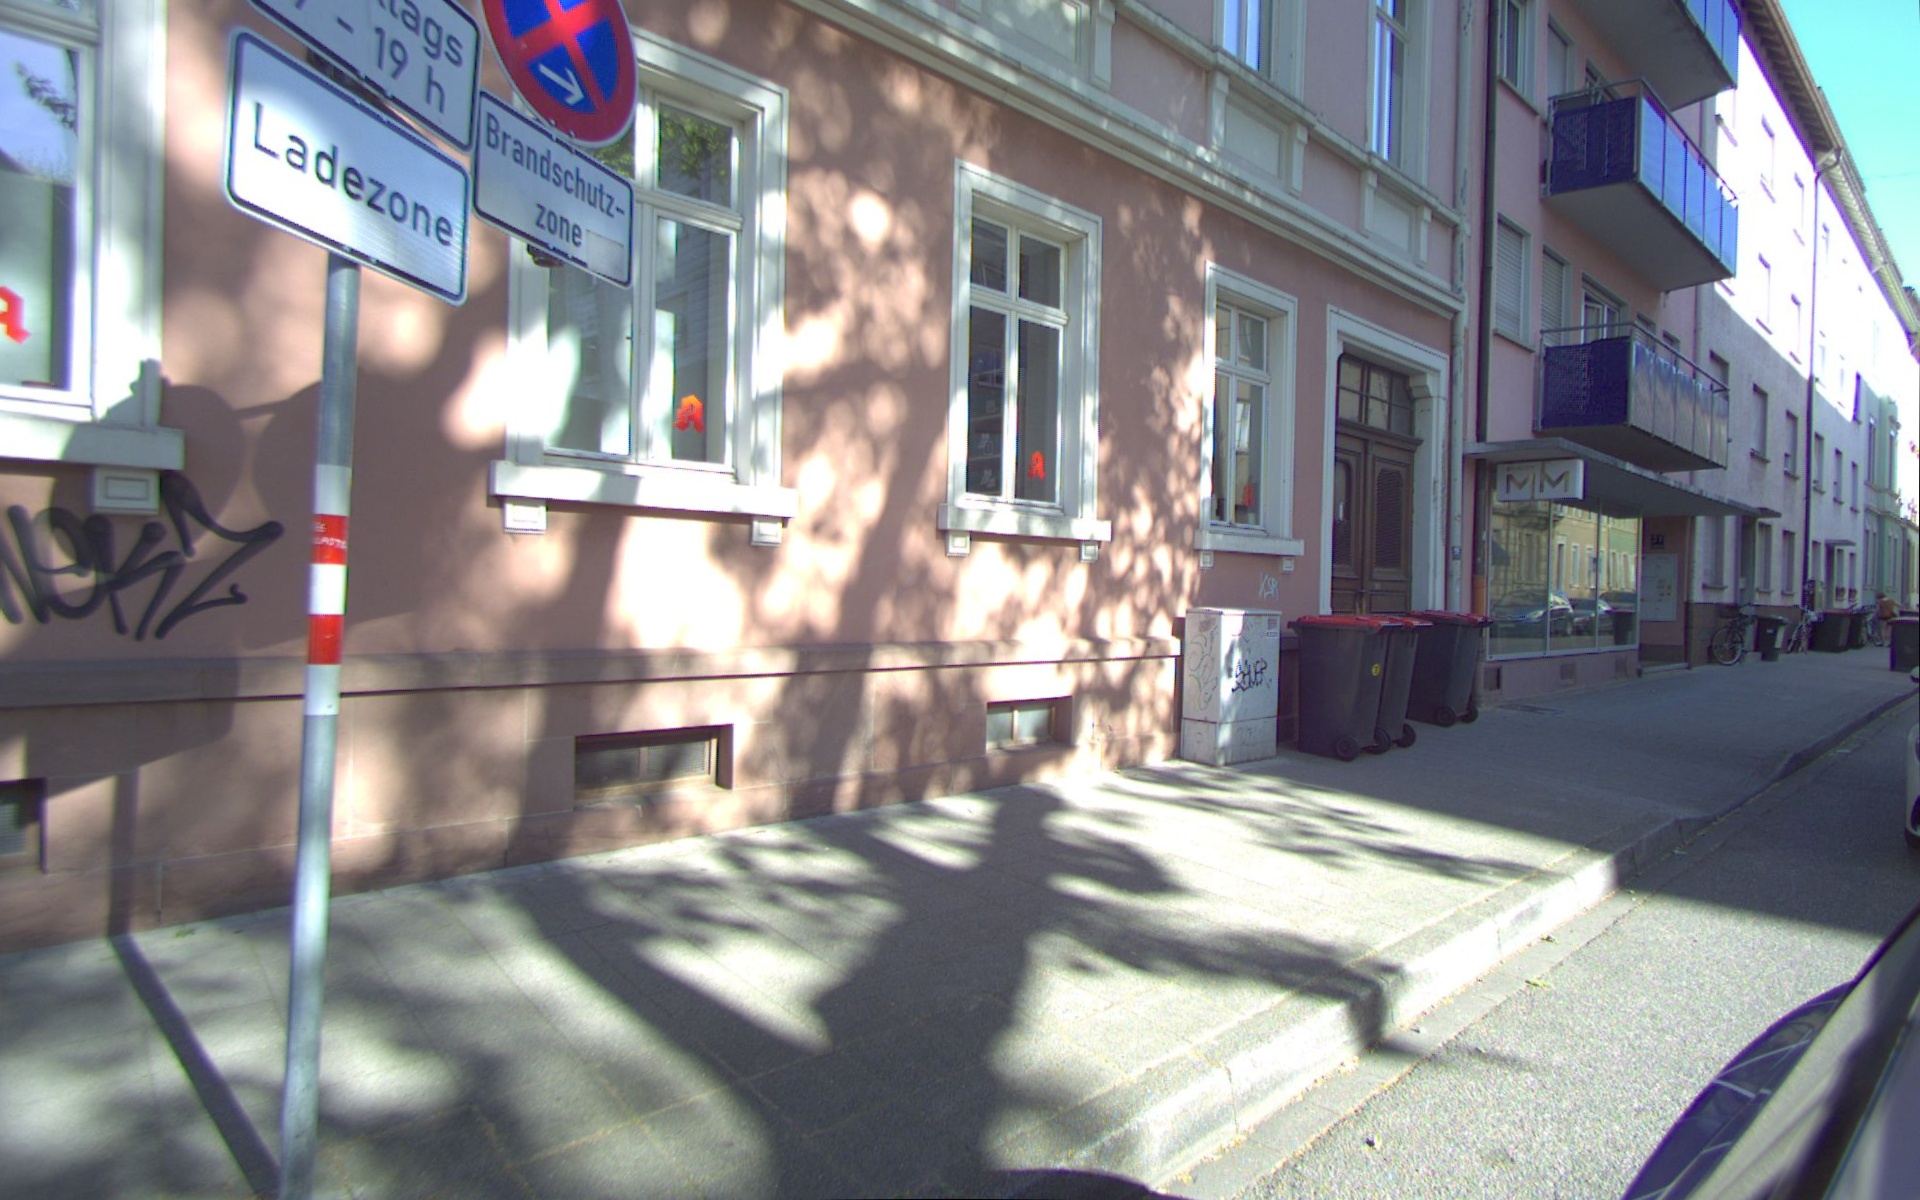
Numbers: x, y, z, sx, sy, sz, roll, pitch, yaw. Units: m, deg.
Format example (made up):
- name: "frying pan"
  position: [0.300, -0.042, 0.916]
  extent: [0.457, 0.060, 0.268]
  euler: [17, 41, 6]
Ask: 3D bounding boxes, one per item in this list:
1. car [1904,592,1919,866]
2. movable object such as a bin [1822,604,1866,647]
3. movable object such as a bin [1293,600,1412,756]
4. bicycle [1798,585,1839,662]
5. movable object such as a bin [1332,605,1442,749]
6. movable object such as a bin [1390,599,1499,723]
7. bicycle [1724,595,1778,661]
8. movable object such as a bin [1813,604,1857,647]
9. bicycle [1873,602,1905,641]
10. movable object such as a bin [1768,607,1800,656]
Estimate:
- name: "car"
  position: [7.425, 0.721, 6.250]
  extent: [4.483, 1.475, 1.861]
  euler: [0, 1, -41]
- name: "movable object such as a bin"
  position: [22.262, 0.633, 25.494]
  extent: [0.537, 1.014, 0.716]
  euler: [1, 4, -43]
- name: "movable object such as a bin"
  position: [3.028, 0.571, 7.807]
  extent: [0.643, 1.097, 0.570]
  euler: [1, 3, -43]
- name: "bicycle"
  position: [20.297, 0.534, 23.922]
  extent: [2.070, 1.757, 0.402]
  euler: [0, 1, -41]
- name: "movable object such as a bin"
  position: [3.473, 0.598, 8.243]
  extent: [0.601, 1.071, 0.570]
  euler: [1, 3, -43]
- name: "movable object such as a bin"
  position: [4.677, 0.562, 9.773]
  extent: [0.608, 1.097, 0.717]
  euler: [1, 4, -43]
- name: "bicycle"
  position: [14.801, 0.499, 18.926]
  extent: [1.989, 1.165, 0.402]
  euler: [0, 1, -41]
- name: "movable object such as a bin"
  position: [21.729, 0.625, 25.124]
  extent: [0.537, 1.014, 0.716]
  euler: [1, 4, -43]
- name: "bicycle"
  position: [27.750, 0.625, 30.214]
  extent: [1.899, 1.110, 0.489]
  euler: [0, 1, -41]
- name: "movable object such as a bin"
  position: [16.726, 0.630, 20.547]
  extent: [0.297, 0.951, 0.416]
  euler: [1, 3, -43]
